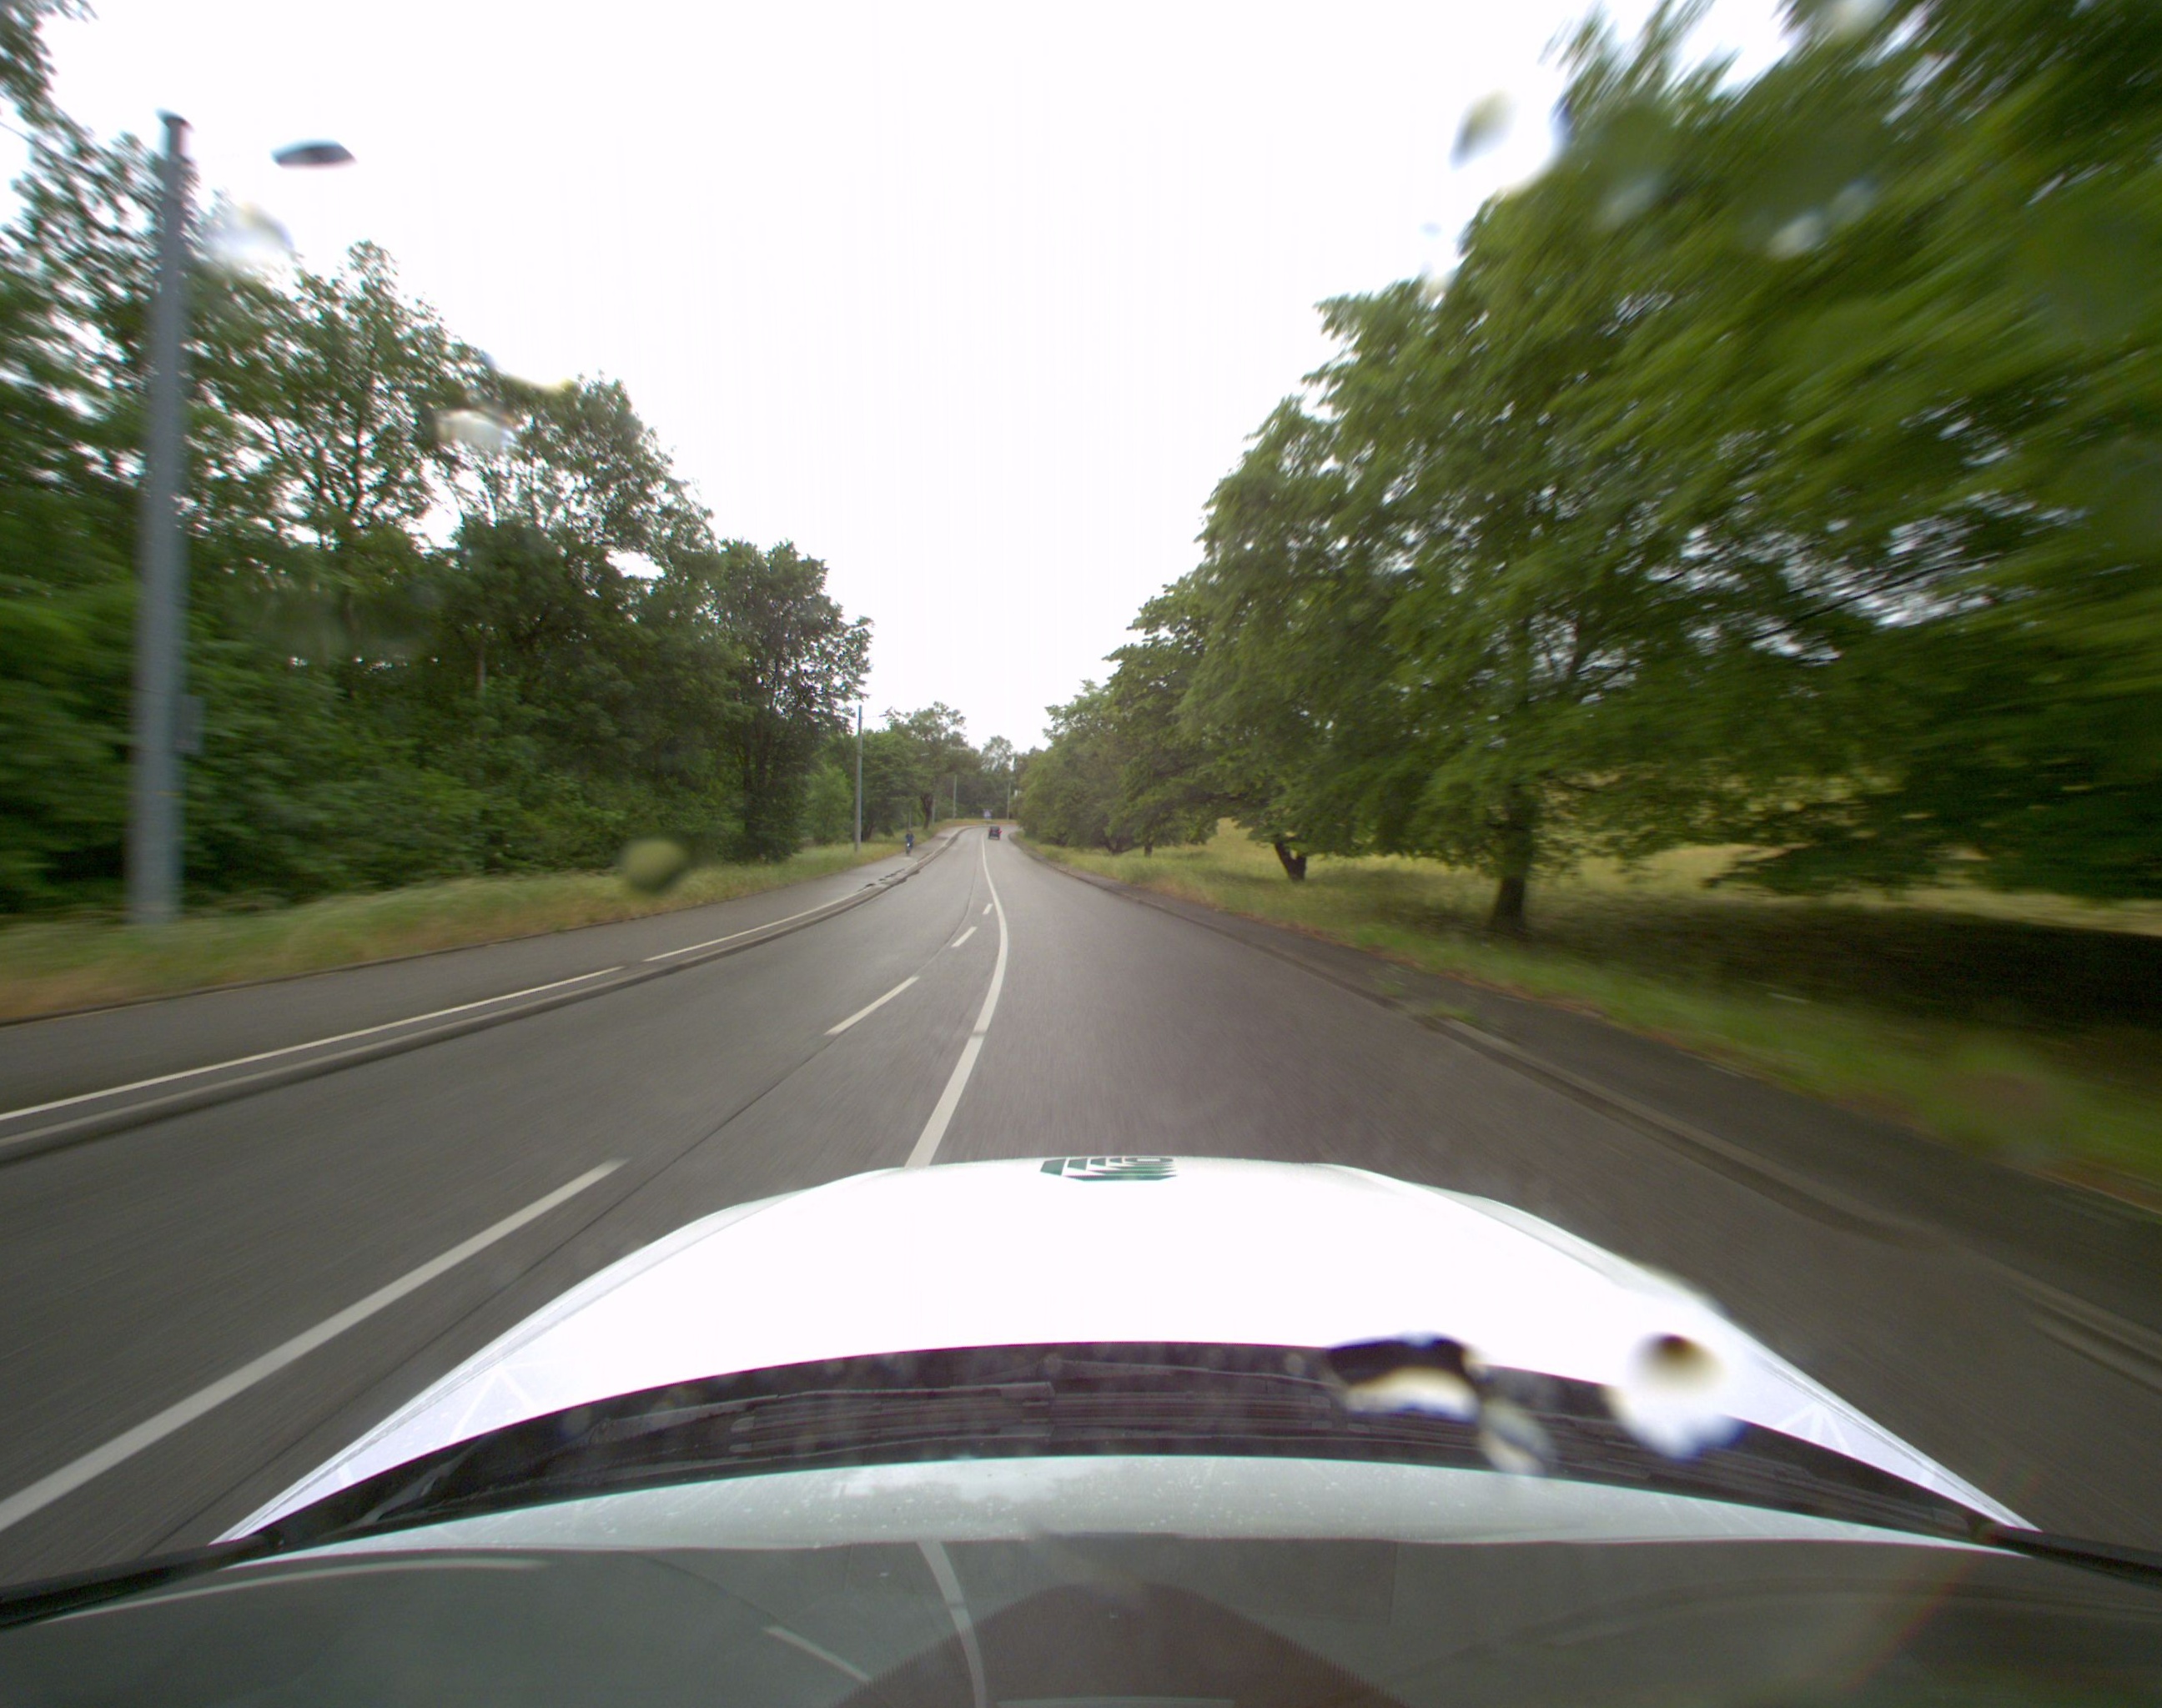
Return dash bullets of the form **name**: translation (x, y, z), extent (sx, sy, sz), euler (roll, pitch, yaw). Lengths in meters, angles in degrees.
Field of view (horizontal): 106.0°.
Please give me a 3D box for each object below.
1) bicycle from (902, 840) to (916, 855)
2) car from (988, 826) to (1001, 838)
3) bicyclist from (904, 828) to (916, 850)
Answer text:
- **bicycle**: translation (-12.414, -0.483, 58.878), extent (0.723, 0.941, 2.544), euler (4, 1, -8)
- **car**: translation (-12.330, -3.141, 116.162), extent (1.739, 1.716, 3.993), euler (3, 1, -5)
- **bicyclist**: translation (-12.387, -1.079, 59.009), extent (0.708, 1.555, 1.168), euler (4, 1, -8)
